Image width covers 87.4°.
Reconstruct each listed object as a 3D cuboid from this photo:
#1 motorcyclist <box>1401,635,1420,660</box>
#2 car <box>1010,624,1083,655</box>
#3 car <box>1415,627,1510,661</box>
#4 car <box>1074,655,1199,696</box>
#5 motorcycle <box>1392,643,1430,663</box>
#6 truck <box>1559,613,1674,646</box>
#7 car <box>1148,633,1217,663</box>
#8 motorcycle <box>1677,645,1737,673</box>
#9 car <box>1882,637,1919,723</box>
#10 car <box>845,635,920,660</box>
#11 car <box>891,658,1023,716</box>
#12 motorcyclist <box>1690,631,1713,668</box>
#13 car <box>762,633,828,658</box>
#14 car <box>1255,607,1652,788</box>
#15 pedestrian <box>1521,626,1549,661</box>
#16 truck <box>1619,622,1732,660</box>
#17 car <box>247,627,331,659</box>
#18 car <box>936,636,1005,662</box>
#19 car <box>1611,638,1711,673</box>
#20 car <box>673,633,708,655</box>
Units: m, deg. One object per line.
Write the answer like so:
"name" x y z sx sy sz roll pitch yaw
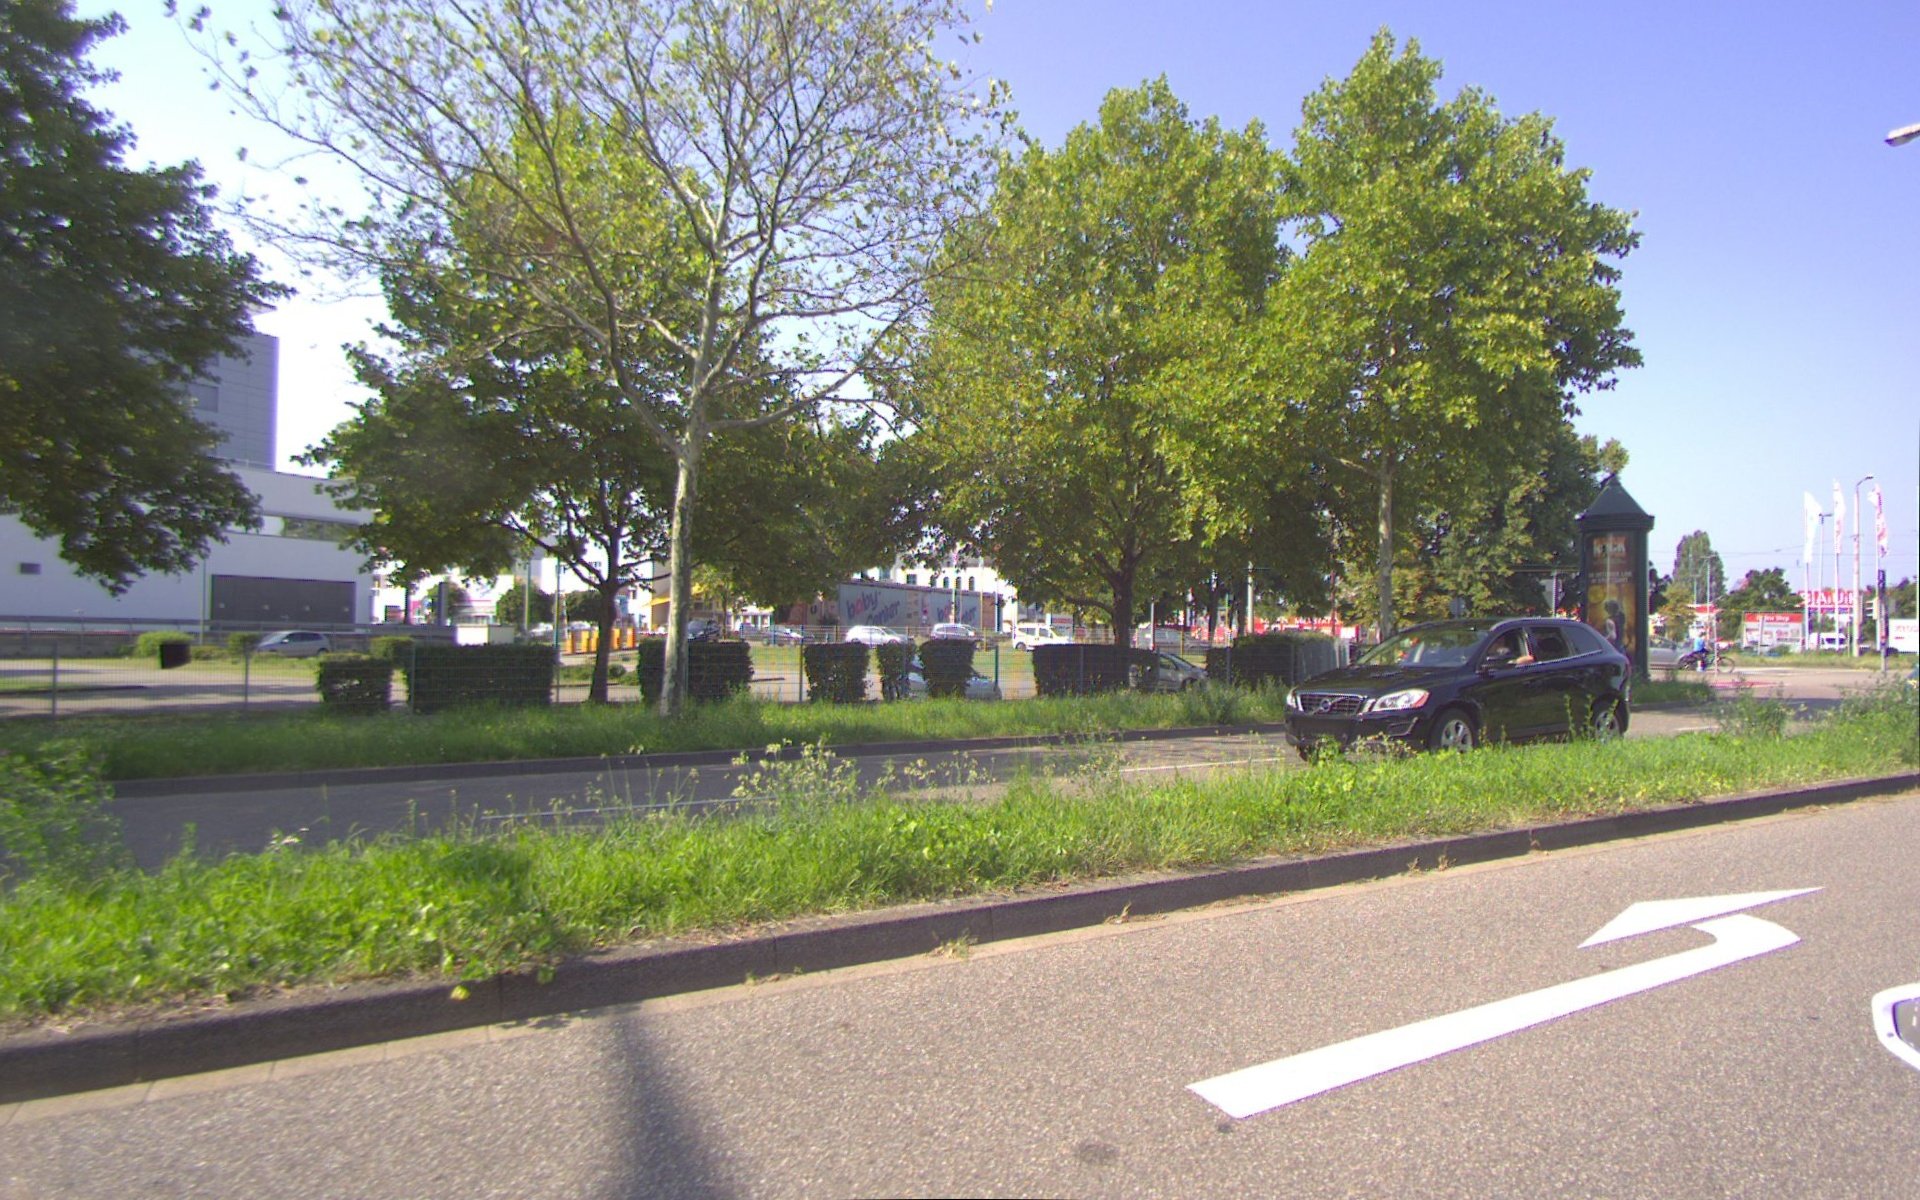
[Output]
"motorcyclist" 22.711 2.385 50.603 0.815 1.194 0.691 1 -1 27
"car" 5.137 2.333 59.587 3.924 1.701 1.869 1 -1 25
"car" 25.488 2.225 51.106 4.229 1.600 1.571 1 -1 24
"car" 6.008 2.544 34.275 3.924 1.272 1.590 -1 -2 25
"motorcycle" 22.708 2.676 50.598 1.689 0.957 0.711 1 -1 27
"truck" 62.902 2.864 96.587 8.846 2.996 3.511 -1 -2 26
"car" 12.376 2.624 55.849 3.426 1.601 1.725 0 -2 26
"motorcycle" 32.788 2.565 44.117 2.037 1.151 0.677 0 -2 27
"car" 19.881 1.560 19.486 3.951 1.595 1.766 2 -1 -29
"car" -5.085 3.096 65.759 4.501 1.565 1.870 -1 -2 23
"car" -0.161 2.293 27.256 1.800 1.327 3.966 2 -2 -31
"motorcyclist" 32.636 2.162 44.202 0.671 1.593 0.683 1 -1 26
"car" -11.024 3.028 67.103 3.921 1.565 1.840 0 -2 19
"car" 5.740 1.002 11.570 4.452 1.728 1.984 2 -1 -30
"pedestrian" 26.863 2.019 46.927 1.038 1.595 0.868 1 -1 26
"truck" 48.304 2.732 67.973 2.082 2.360 5.951 2 -1 -30
"car" -32.558 2.083 48.836 1.356 1.455 3.123 1 -1 26
"car" 0.667 3.062 62.647 3.926 1.565 1.838 -1 -2 27
"car" 32.794 2.567 47.091 3.633 1.462 1.465 1 -1 26
"car" -19.937 3.221 74.243 1.815 1.565 3.975 1 -2 -25
